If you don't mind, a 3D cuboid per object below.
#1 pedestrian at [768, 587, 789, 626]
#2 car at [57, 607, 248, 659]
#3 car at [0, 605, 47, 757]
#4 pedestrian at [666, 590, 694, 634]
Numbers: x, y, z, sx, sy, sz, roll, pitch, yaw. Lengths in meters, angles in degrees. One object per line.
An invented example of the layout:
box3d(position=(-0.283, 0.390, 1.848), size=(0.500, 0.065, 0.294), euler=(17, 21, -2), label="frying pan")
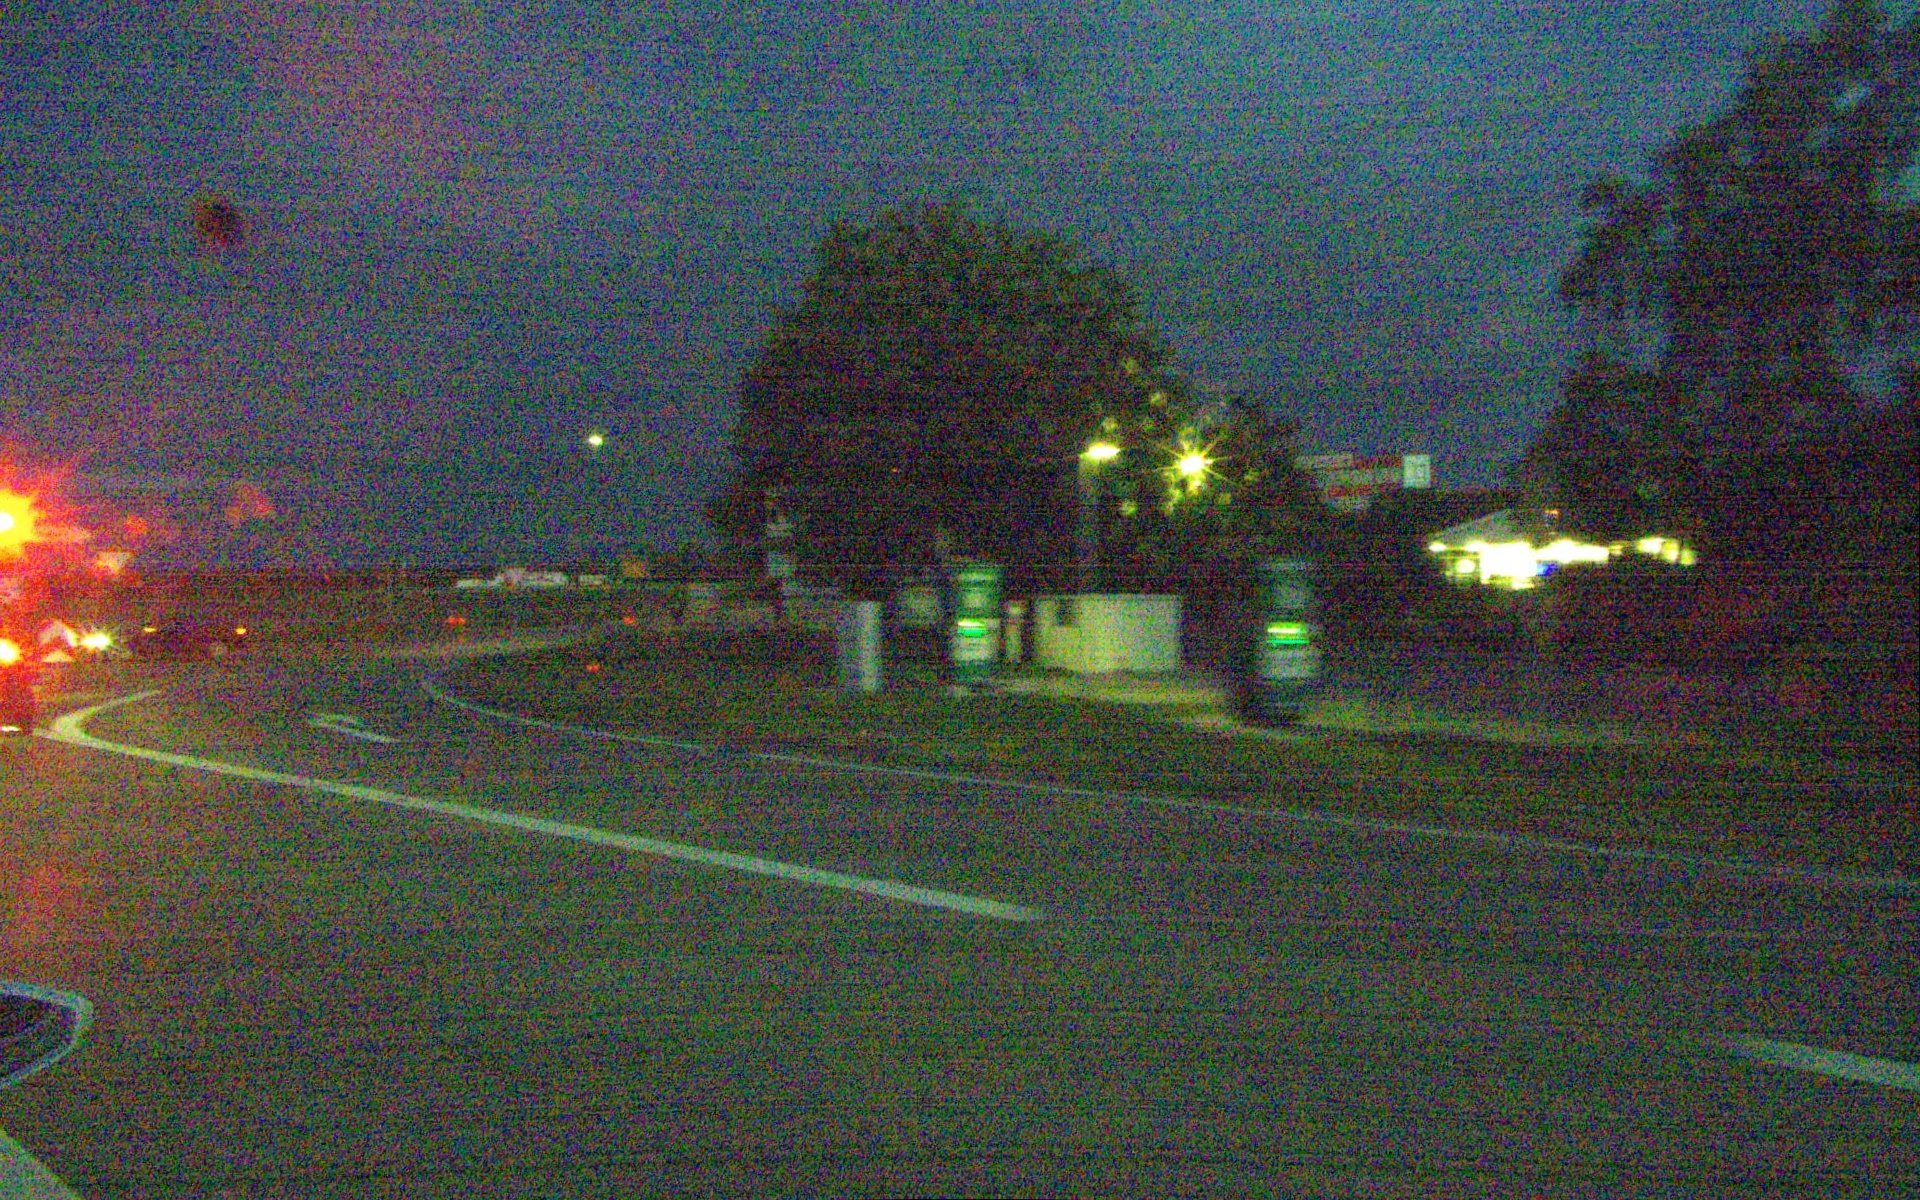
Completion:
box3d(position=(-8.955, 0.323, 49.419), size=(0.860, 1.925, 0.660), euler=(0, 1, 6), label="pedestrian")
box3d(position=(-26.904, 1.030, 33.535), size=(1.971, 1.541, 4.590), euler=(0, 1, 32), label="car")
box3d(position=(-11.611, 0.815, 10.816), size=(4.048, 1.540, 1.667), euler=(0, -1, 34), label="car")
box3d(position=(-12.204, 0.510, 43.612), size=(0.861, 1.859, 0.731), euler=(-3, 1, 6), label="pedestrian")
